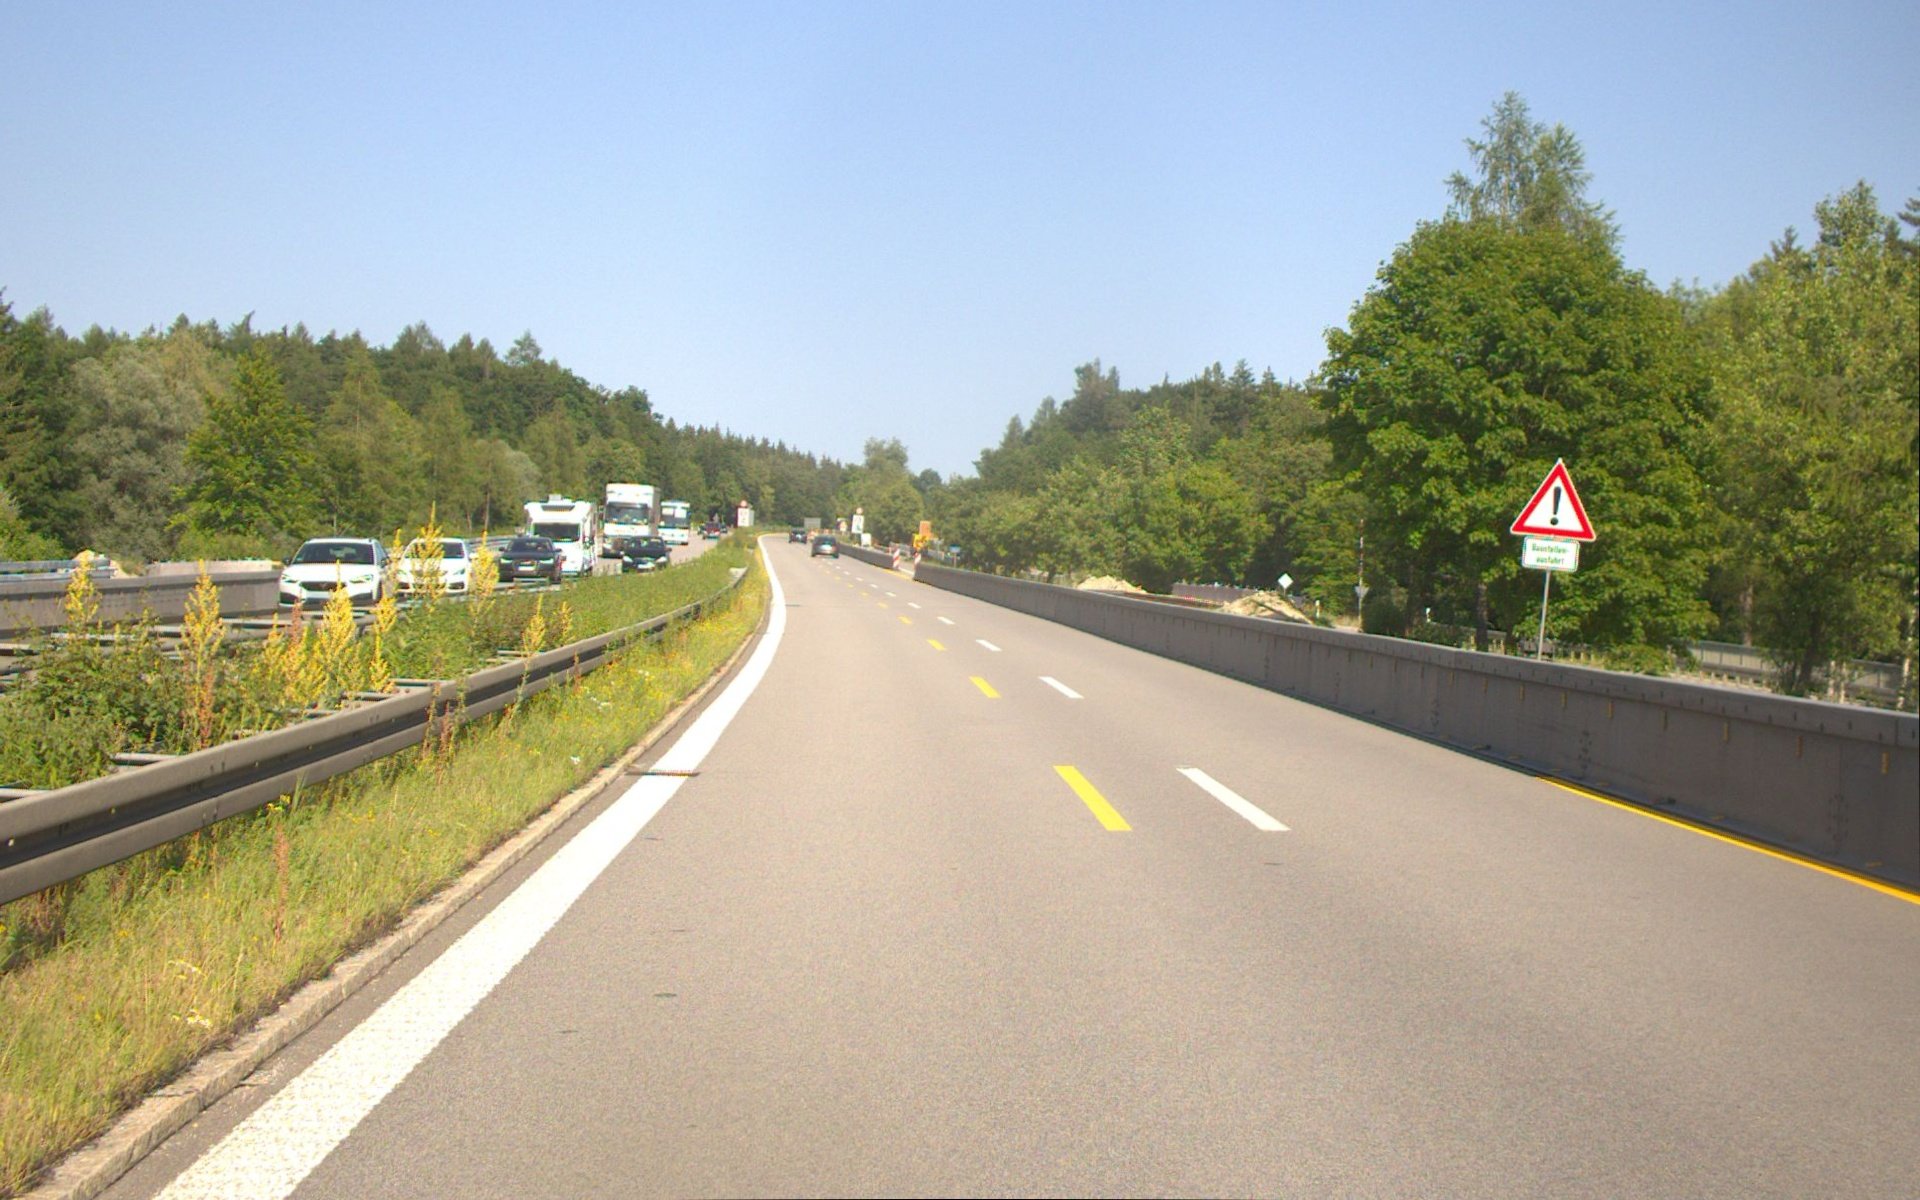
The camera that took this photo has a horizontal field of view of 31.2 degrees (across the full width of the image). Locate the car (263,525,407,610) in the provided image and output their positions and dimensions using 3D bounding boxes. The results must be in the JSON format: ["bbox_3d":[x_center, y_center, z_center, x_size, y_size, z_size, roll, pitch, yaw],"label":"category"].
[{"bbox_3d":[-11.295,-0.604,62.453,1.883,1.427,4.984,2,1,-3],"label":"car"}]

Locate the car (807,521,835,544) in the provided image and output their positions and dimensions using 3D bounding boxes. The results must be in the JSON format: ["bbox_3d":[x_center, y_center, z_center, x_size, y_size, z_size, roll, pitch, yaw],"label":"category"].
[{"bbox_3d":[-9.357,-4.540,231.399,1.743,1.461,4.294,3,1,-3],"label":"car"}]

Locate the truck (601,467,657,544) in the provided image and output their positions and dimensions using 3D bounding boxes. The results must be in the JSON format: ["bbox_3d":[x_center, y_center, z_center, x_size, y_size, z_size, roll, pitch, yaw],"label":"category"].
[{"bbox_3d":[-18.094,-5.159,188.336,2.770,4.074,5.476,1,1,-3],"label":"truck"}]

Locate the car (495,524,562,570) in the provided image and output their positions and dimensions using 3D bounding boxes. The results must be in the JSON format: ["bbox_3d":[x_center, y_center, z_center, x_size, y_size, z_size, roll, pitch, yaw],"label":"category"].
[{"bbox_3d":[-14.140,-1.752,112.932,1.741,1.427,5.236,-1,1,-2],"label":"car"}]

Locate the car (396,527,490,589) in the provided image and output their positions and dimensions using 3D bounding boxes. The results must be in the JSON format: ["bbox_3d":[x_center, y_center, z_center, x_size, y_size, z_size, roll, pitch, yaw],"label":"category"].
[{"bbox_3d":[-12.316,-1.020,82.058,1.701,1.427,4.956,0,1,-3],"label":"car"}]

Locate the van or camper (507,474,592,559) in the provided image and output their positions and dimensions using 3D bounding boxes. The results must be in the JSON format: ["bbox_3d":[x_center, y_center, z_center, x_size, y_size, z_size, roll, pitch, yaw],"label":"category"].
[{"bbox_3d":[-15.030,-3.054,126.337,2.406,2.940,7.523,2,1,-2],"label":"van or camper"}]

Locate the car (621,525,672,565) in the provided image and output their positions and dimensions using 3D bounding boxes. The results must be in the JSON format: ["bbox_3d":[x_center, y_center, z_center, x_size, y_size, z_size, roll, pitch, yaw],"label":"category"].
[{"bbox_3d":[-12.163,-2.139,133.390,1.741,1.525,4.001,0,1,-2],"label":"car"}]
